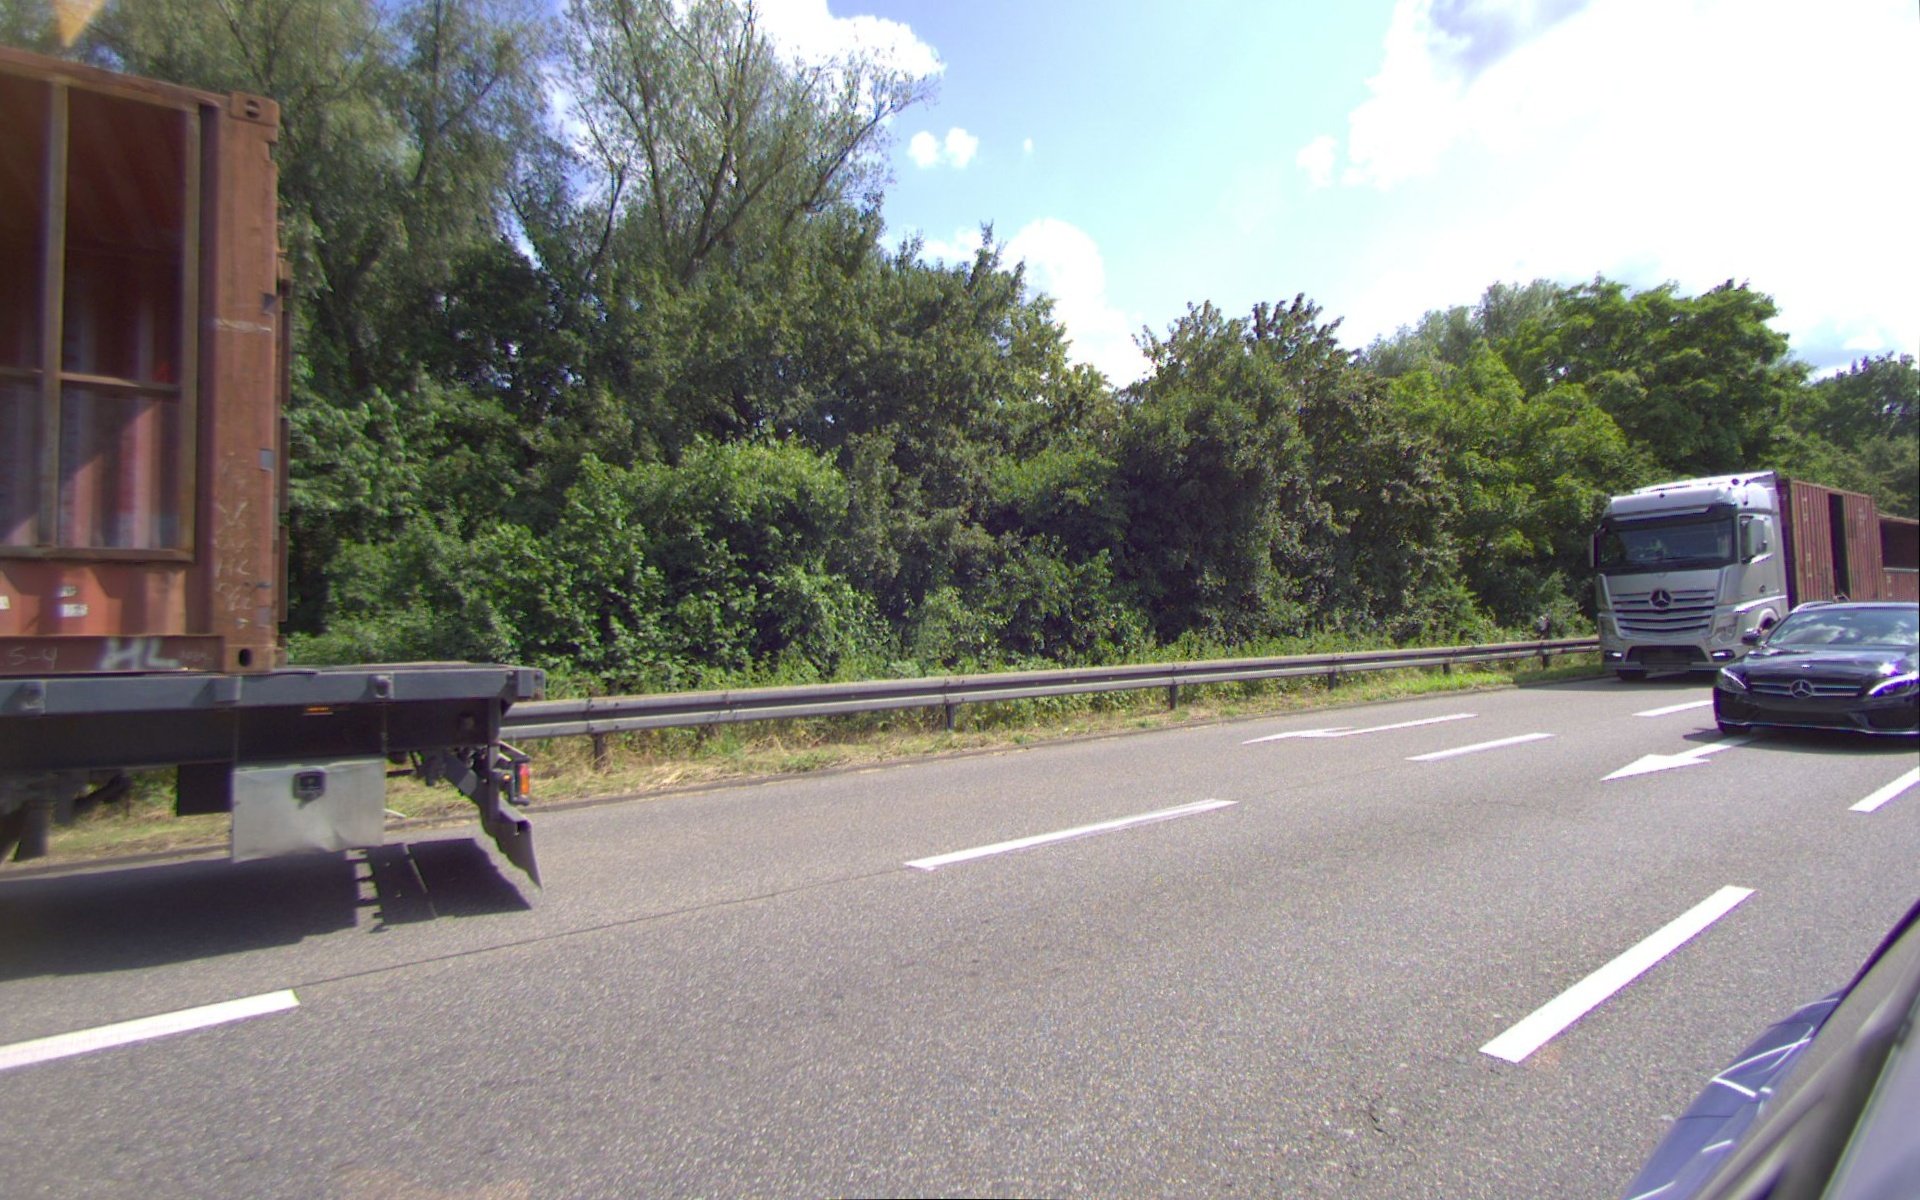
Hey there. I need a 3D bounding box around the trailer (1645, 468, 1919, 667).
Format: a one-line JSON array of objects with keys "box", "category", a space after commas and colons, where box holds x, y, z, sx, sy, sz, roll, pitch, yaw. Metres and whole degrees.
[{"box": [20.773, -0.617, 24.478, 12.087, 3.900, 2.779, 0, -2, -35], "category": "trailer"}]

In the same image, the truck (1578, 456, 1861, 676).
[{"box": [15.839, -0.555, 20.948, 6.692, 3.895, 2.776, 0, -2, -37], "category": "truck"}]

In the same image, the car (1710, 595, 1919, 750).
[{"box": [10.287, 0.684, 11.383, 4.288, 1.454, 1.795, 0, -1, -37], "category": "car"}]

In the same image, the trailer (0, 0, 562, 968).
[{"box": [-8.457, -0.416, 2.570, 13.579, 3.942, 2.647, -1, -3, -33], "category": "trailer"}]
